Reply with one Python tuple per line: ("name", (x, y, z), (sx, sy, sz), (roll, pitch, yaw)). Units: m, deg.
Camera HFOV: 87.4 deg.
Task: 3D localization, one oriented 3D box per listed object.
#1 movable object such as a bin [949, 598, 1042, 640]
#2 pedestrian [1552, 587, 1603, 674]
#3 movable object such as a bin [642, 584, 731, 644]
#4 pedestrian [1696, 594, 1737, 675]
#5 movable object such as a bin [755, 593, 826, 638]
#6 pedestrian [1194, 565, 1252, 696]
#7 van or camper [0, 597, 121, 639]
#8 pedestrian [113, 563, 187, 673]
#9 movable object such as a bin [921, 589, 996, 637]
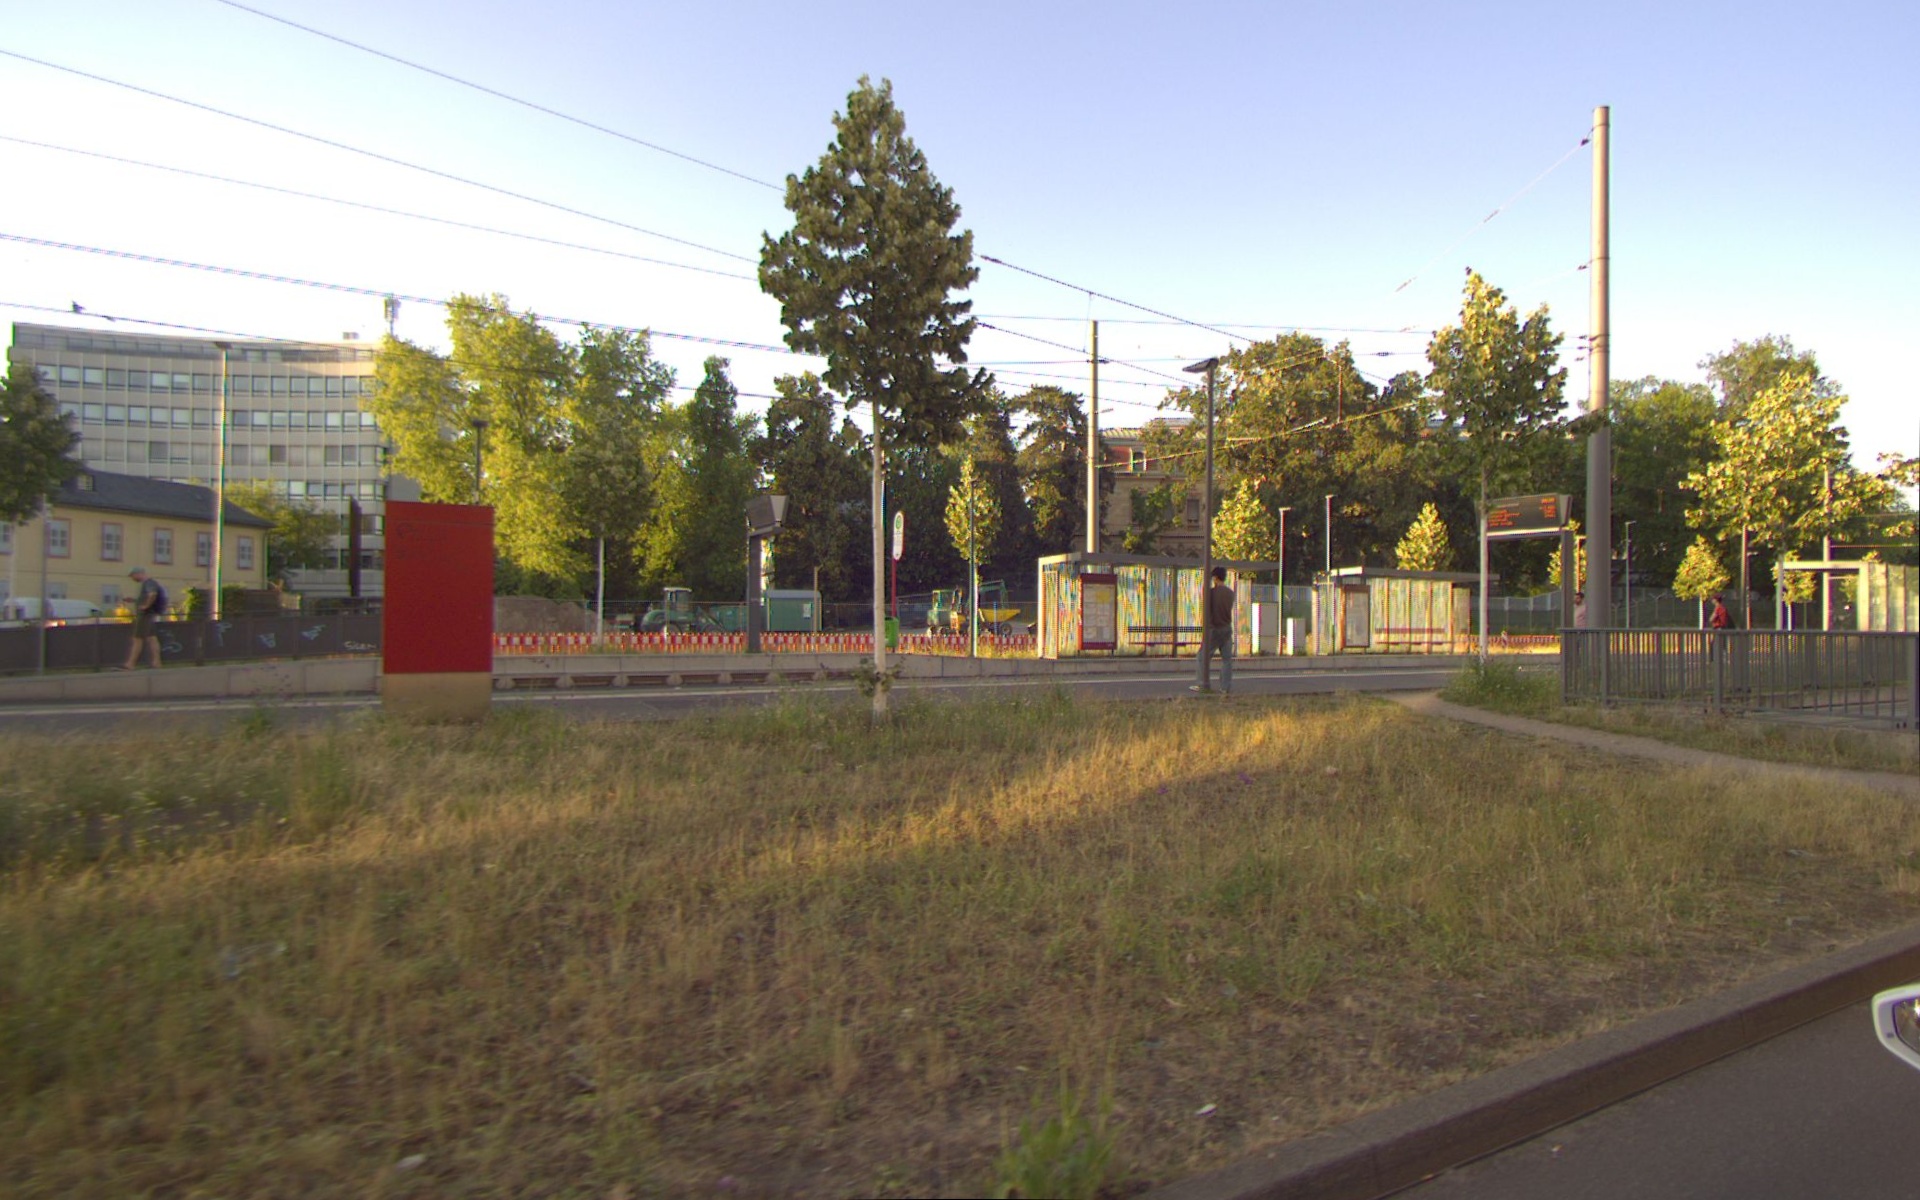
("movable object such as a bin", (2.011, 1.086, 56.484), (4.877, 2.276, 1.986), (2, -1, -28))
("pedestrian", (12.778, 0.626, 20.799), (0.630, 1.768, 0.719), (0, 0, -37))
("movable object such as a bin", (-12.906, 0.682, 47.474), (3.935, 2.742, 1.993), (1, -1, -17))
("pedestrian", (16.741, 0.754, 22.231), (0.631, 1.752, 0.628), (1, -1, -42))
("movable object such as a bin", (-10.651, 0.978, 63.143), (3.950, 2.742, 1.986), (2, -1, -28))
("pedestrian", (3.722, 0.429, 14.237), (0.617, 1.810, 0.470), (1, -1, -23))
("van or camper", (-52.827, 1.058, 59.098), (1.959, 2.332, 5.120), (0, -1, 12))
("pedestrian", (-13.788, 0.304, 17.120), (0.807, 1.822, 0.691), (1, -1, -28))
("movable object such as a bin", (-0.099, 0.818, 59.756), (3.950, 2.742, 1.986), (2, -1, -28))
